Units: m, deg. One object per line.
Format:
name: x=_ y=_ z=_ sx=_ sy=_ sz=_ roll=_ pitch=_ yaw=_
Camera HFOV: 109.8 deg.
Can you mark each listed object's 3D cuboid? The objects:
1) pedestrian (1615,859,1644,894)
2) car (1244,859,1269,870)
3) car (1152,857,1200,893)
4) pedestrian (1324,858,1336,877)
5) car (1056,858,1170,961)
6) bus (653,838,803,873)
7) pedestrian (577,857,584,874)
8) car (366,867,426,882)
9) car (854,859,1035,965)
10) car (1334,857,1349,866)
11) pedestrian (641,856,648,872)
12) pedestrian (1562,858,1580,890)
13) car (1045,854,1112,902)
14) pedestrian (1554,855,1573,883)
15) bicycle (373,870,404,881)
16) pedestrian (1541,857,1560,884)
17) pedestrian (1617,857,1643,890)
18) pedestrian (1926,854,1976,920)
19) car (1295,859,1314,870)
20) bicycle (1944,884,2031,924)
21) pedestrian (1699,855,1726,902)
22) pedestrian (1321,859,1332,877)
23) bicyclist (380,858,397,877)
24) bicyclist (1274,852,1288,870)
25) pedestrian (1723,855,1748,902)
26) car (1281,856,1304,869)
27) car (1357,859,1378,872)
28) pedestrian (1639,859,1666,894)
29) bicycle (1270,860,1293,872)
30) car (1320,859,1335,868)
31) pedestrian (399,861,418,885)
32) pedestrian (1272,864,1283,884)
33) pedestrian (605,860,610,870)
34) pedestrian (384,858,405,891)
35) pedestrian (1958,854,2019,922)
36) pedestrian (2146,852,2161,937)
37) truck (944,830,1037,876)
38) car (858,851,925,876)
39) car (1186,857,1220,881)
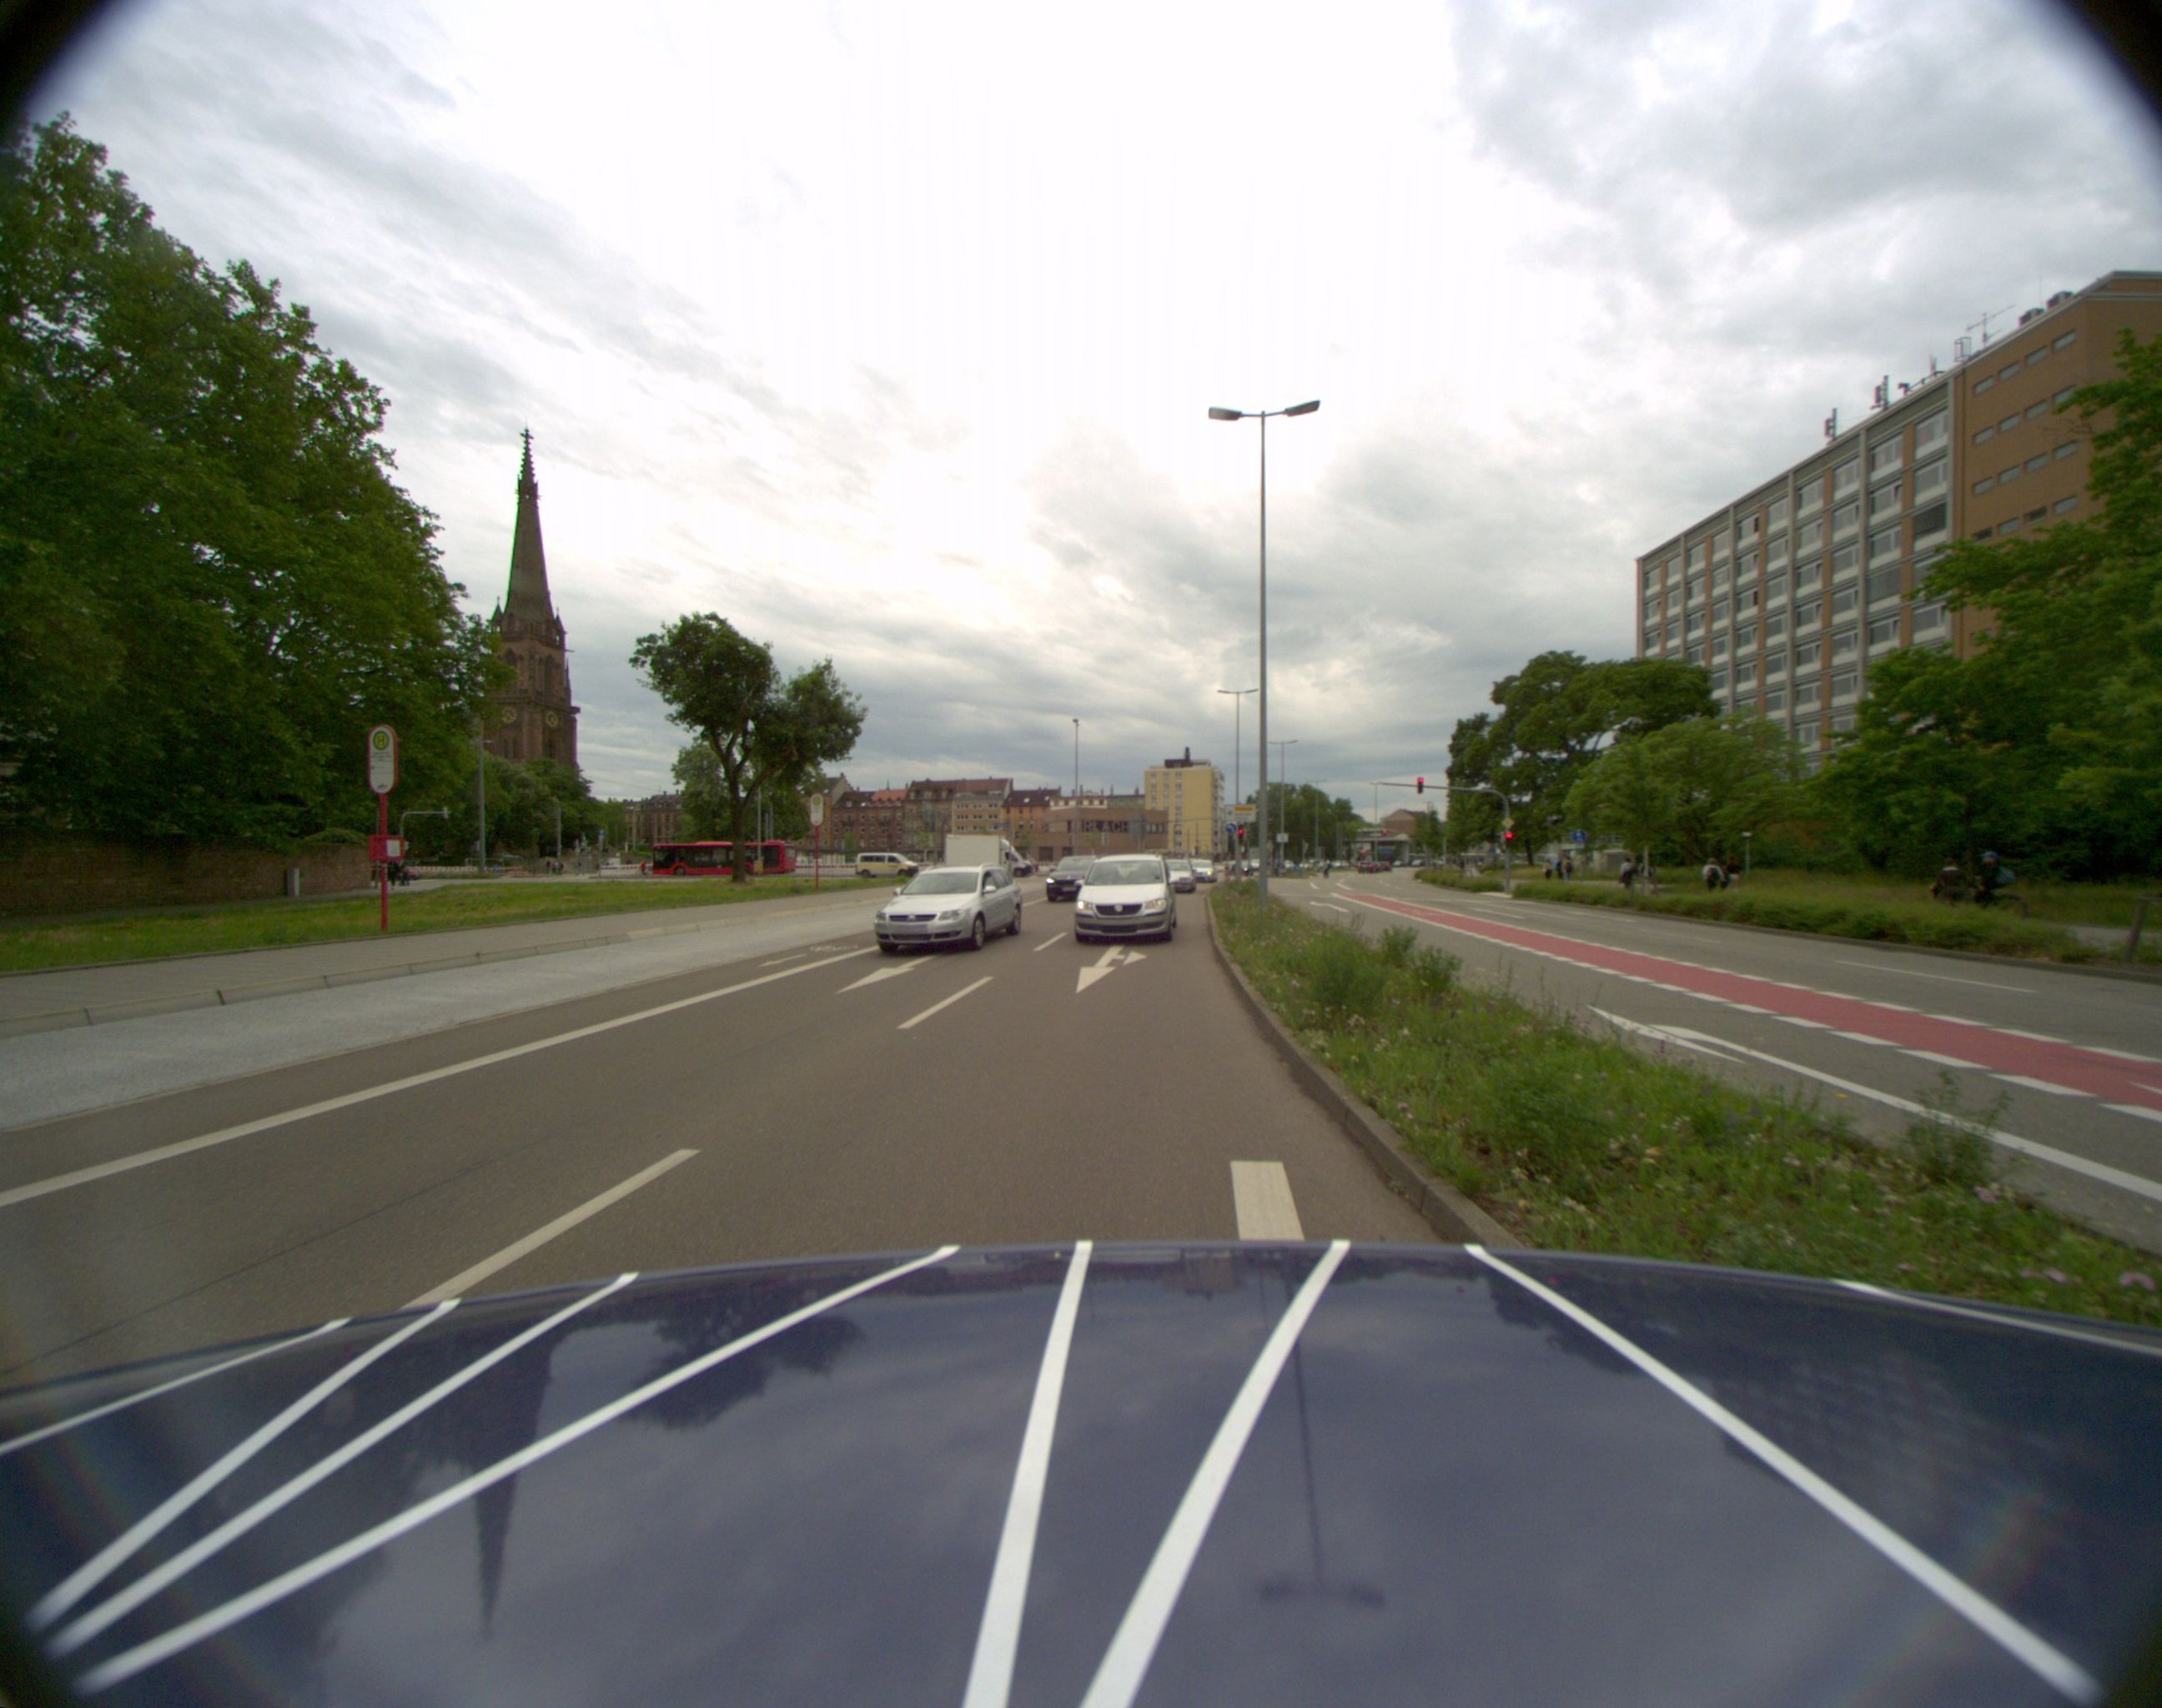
pedestrian: x=24.072 y=0.973 z=33.335 sx=0.730 sy=1.471 sz=0.814 roll=1 pitch=0 yaw=12
car: x=24.327 y=1.430 z=105.148 sx=1.815 sy=1.466 sz=4.042 roll=1 pitch=0 yaw=37
car: x=4.172 y=0.870 z=32.779 sx=1.725 sy=1.405 sz=4.249 roll=-1 pitch=-1 yaw=11
pedestrian: x=23.618 y=1.248 z=72.188 sx=0.768 sy=1.794 sz=0.740 roll=1 pitch=0 yaw=-14
car: x=0.737 y=0.884 z=13.987 sx=1.733 sy=1.593 sz=4.108 roll=-1 pitch=0 yaw=7
bus: x=-31.040 y=0.158 z=67.033 sx=12.083 sy=2.890 sz=2.939 roll=-1 pitch=0 yaw=4
pedestrian: x=-51.917 y=1.205 z=78.797 sx=0.373 sy=1.695 sz=0.372 roll=1 pitch=0 yaw=7
car: x=-57.024 y=1.700 z=63.319 sx=3.536 sy=1.149 sz=1.446 roll=1 pitch=0 yaw=-5
car: x=-2.348 y=0.959 z=14.417 sx=1.828 sy=1.542 sz=4.530 roll=-2 pitch=1 yaw=11
car: x=48.872 y=1.460 z=142.350 sx=1.800 sy=1.586 sz=3.767 roll=1 pitch=0 yaw=33
pedestrian: x=-39.959 y=0.935 z=69.551 sx=0.371 sy=1.458 sz=0.374 roll=1 pitch=0 yaw=7
pedestrian: x=28.102 y=1.151 z=43.578 sx=0.638 sy=1.790 sz=0.762 roll=0 pitch=0 yaw=12
car: x=-0.003 y=0.851 z=28.623 sx=1.911 sy=1.615 sz=4.493 roll=-2 pitch=0 yaw=7
pedestrian: x=30.080 y=0.931 z=47.365 sx=0.708 sy=1.661 sz=0.890 roll=-1 pitch=0 yaw=12
bicycle: x=-55.379 y=1.722 z=60.749 sx=1.820 sy=0.815 sz=0.601 roll=1 pitch=0 yaw=-7
pedestrian: x=29.279 y=1.002 z=47.430 sx=0.708 sy=1.661 sz=0.944 roll=-1 pitch=0 yaw=12
pedestrian: x=27.705 y=0.990 z=38.334 sx=0.635 sy=1.603 sz=0.829 roll=-1 pitch=0 yaw=-13
pedestrian: x=21.508 y=0.802 z=18.804 sx=0.575 sy=1.599 sz=0.617 roll=2 pitch=0 yaw=24
car: x=36.609 y=1.741 z=124.379 sx=1.834 sy=1.753 sz=3.920 roll=1 pitch=0 yaw=34
bicycle: x=22.308 y=1.213 z=18.740 sx=0.661 sy=0.882 sz=1.718 roll=1 pitch=0 yaw=23
pedestrian: x=23.098 y=0.880 z=27.804 sx=0.622 sy=1.685 sz=0.748 roll=2 pitch=0 yaw=34
pedestrian: x=22.543 y=1.271 z=69.725 sx=0.777 sy=1.657 sz=0.707 roll=1 pitch=0 yaw=0
bicyclist: x=-55.343 y=1.064 z=60.752 sx=0.782 sy=1.512 sz=0.601 roll=1 pitch=0 yaw=-7
bicyclist: x=19.328 y=0.663 z=73.453 sx=1.190 sy=1.725 sz=0.807 roll=1 pitch=0 yaw=10
pedestrian: x=23.858 y=0.885 z=27.699 sx=0.579 sy=1.702 sz=0.763 roll=2 pitch=0 yaw=36
car: x=32.040 y=1.290 z=114.809 sx=1.994 sy=1.870 sz=4.009 roll=1 pitch=0 yaw=36
car: x=37.328 y=1.490 z=98.903 sx=1.812 sy=1.657 sz=3.957 roll=1 pitch=1 yaw=30
pedestrian: x=24.939 y=0.967 z=33.170 sx=0.636 sy=1.471 sz=0.762 roll=1 pitch=0 yaw=12
bicycle: x=19.385 y=1.142 z=73.444 sx=2.003 sy=1.136 sz=0.807 roll=1 pitch=0 yaw=10
car: x=43.620 y=1.734 z=134.281 sx=1.606 sy=1.586 sz=3.767 roll=1 pitch=0 yaw=33
pedestrian: x=-47.035 y=1.342 z=53.160 sx=0.871 sy=1.628 sz=0.693 roll=0 pitch=0 yaw=22
pedestrian: x=18.235 y=1.851 z=70.545 sx=0.917 sy=1.794 sz=0.541 roll=1 pitch=0 yaw=24
pedestrian: x=-54.293 y=1.240 z=87.119 sx=0.373 sy=1.189 sz=0.372 roll=1 pitch=0 yaw=7
pedestrian: x=-36.166 y=1.066 z=40.030 sx=0.759 sy=1.725 sz=0.820 roll=1 pitch=0 yaw=-41
pedestrian: x=22.295 y=0.819 z=18.687 sx=0.661 sy=1.622 sz=0.765 roll=1 pitch=0 yaw=23
pedestrian: x=21.202 y=0.788 z=14.544 sx=0.587 sy=1.650 sz=0.720 roll=1 pitch=0 yaw=3
truck: x=-7.050 y=-0.099 z=59.944 sx=6.847 sy=3.392 sz=2.561 roll=-1 pitch=2 yaw=3
car: x=-15.015 y=0.734 z=60.377 sx=4.709 sy=1.909 sz=1.920 roll=0 pitch=3 yaw=5
car: x=7.931 y=0.922 z=49.176 sx=1.784 sy=1.454 sz=3.875 roll=-1 pitch=0 yaw=14
